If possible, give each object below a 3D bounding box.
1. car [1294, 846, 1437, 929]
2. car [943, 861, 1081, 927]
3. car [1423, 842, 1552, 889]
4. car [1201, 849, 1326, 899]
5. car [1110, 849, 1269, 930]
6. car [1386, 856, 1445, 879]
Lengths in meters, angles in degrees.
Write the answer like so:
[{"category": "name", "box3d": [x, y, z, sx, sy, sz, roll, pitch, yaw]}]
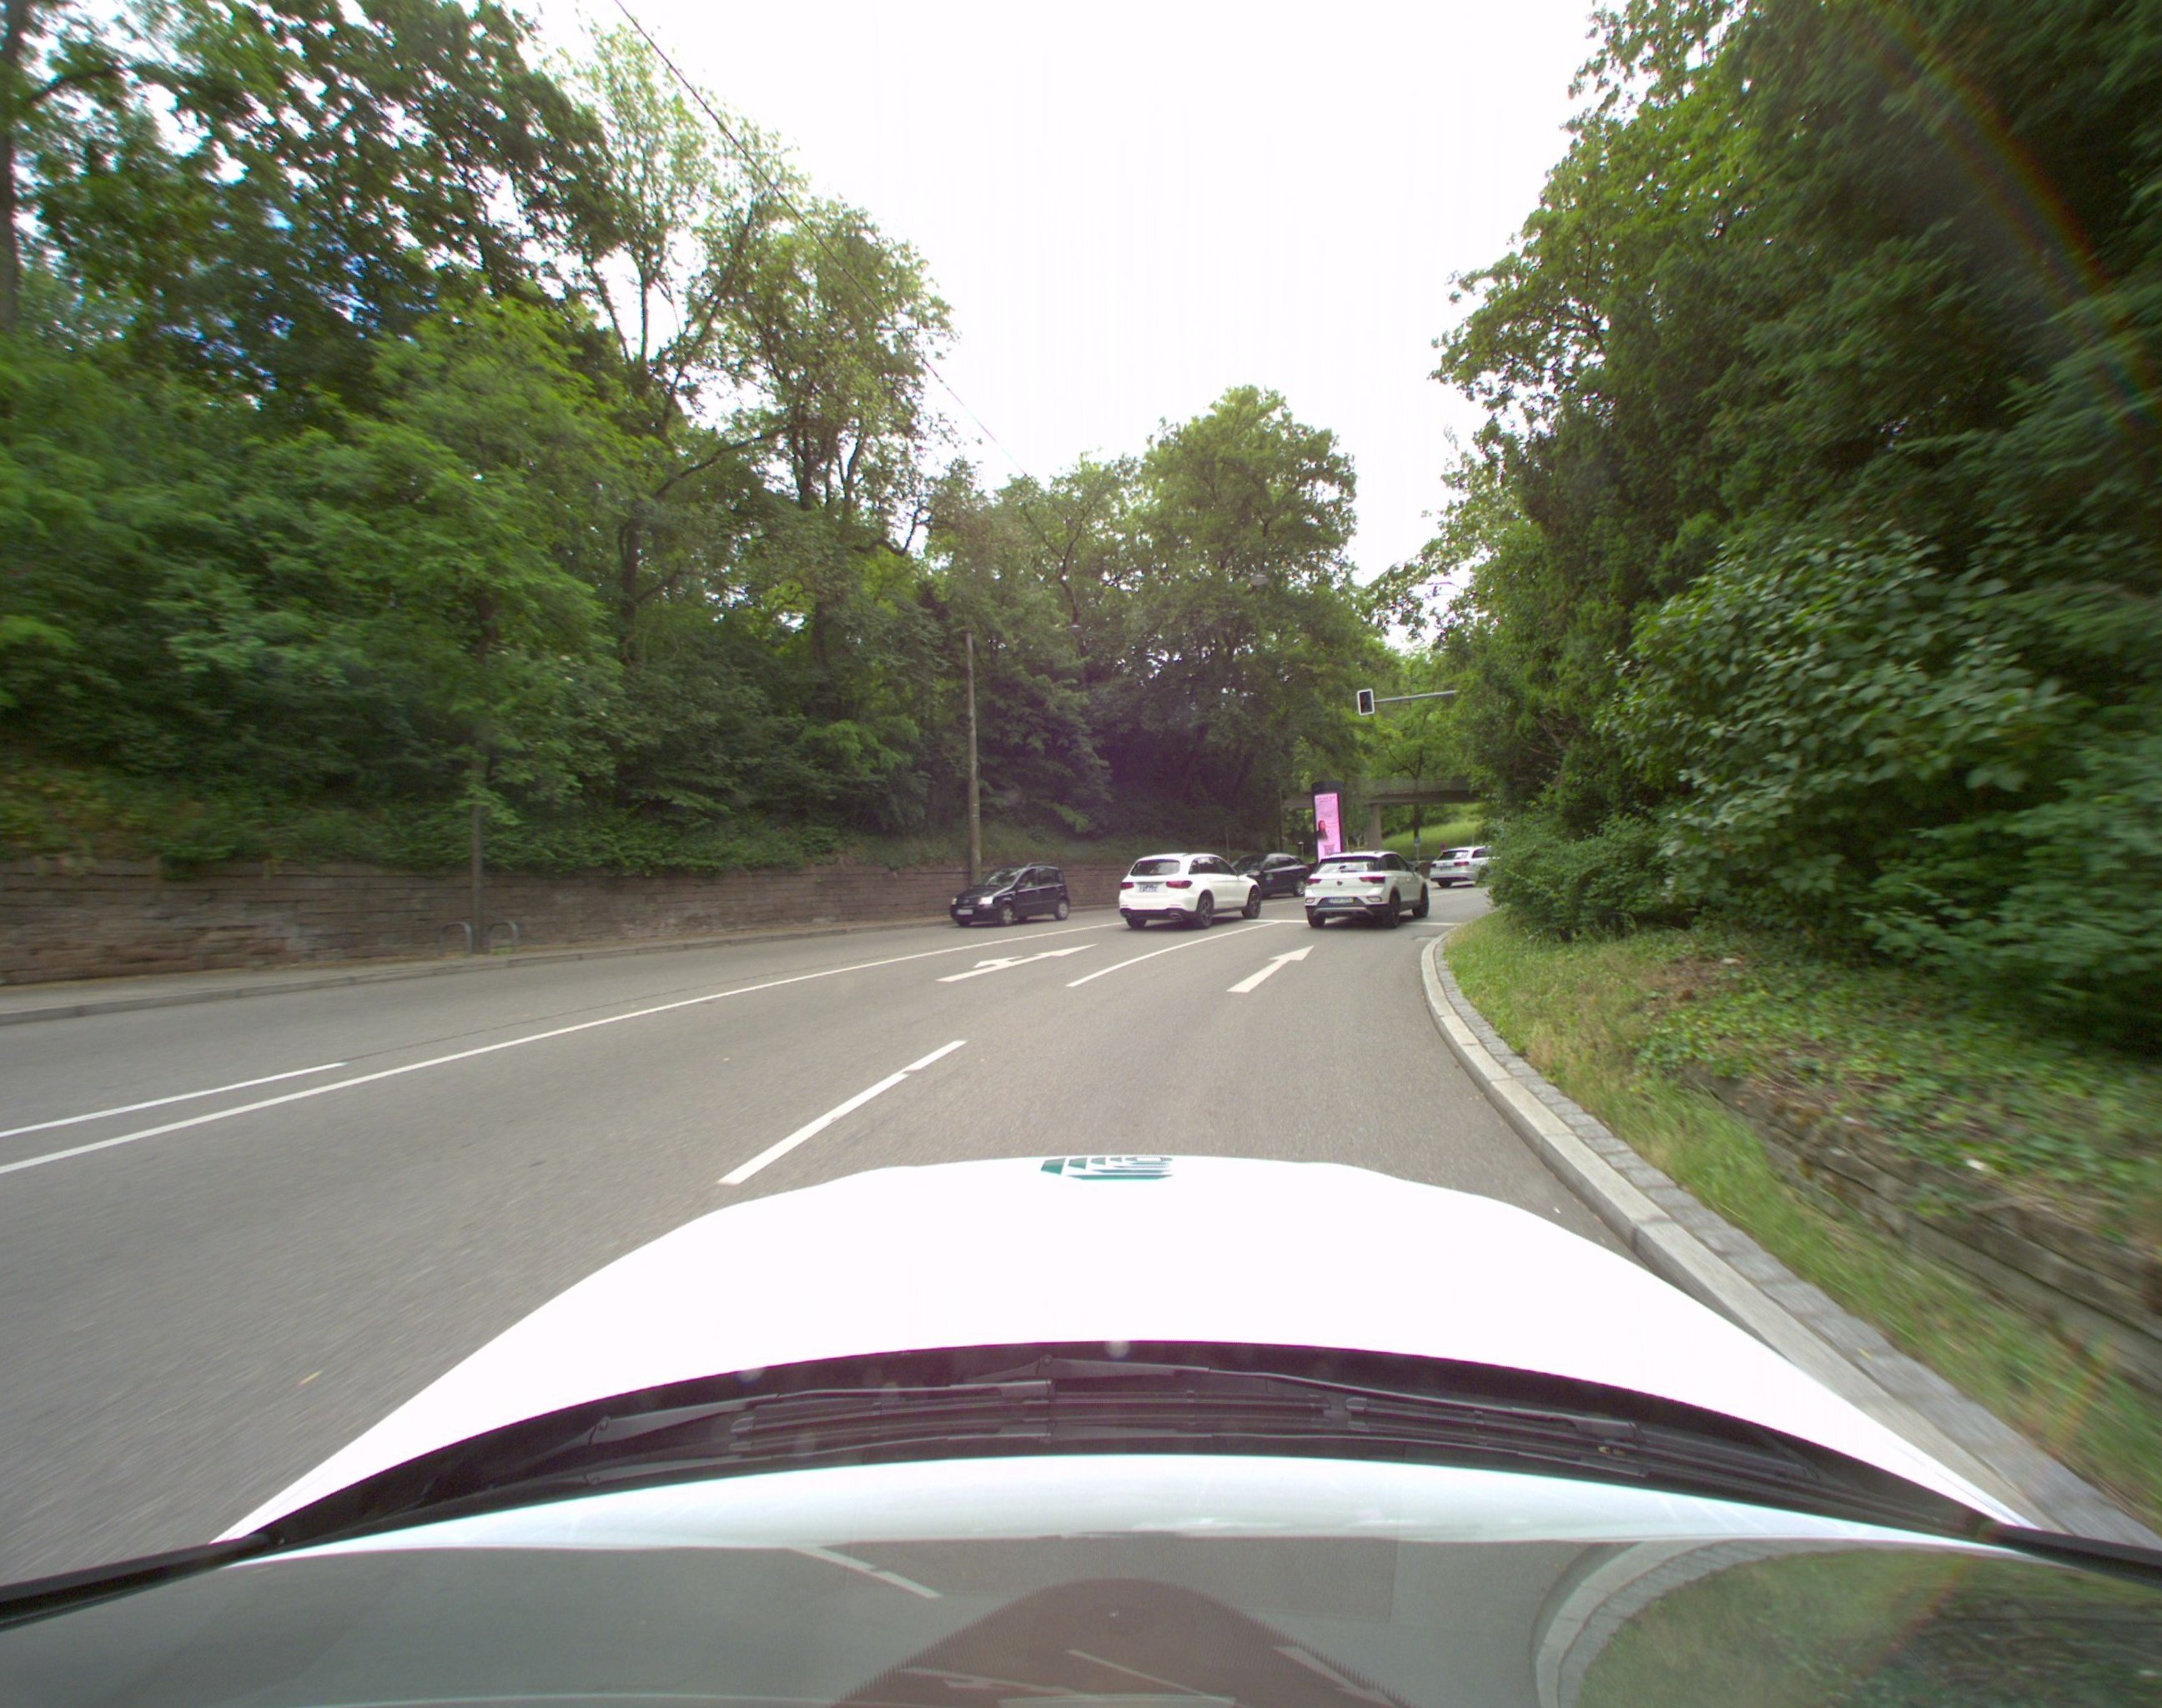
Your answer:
[{"category": "car", "box3d": [6.341, 0.652, 17.831, 1.737, 1.553, 4.365, -3, -1, 36]}, {"category": "car", "box3d": [-1.704, 0.969, 21.044, 1.491, 1.525, 3.683, -2, -1, 36]}, {"category": "car", "box3d": [15.272, 0.414, 30.541, 4.788, 1.534, 1.854, -2, 0, -28]}, {"category": "car", "box3d": [6.710, 0.716, 29.737, 4.670, 1.624, 1.740, -1, -2, -36]}, {"category": "car", "box3d": [2.680, 0.741, 19.016, 1.841, 1.605, 4.700, -2, -1, 32]}, {"category": "car", "box3d": [25.820, 1.064, 62.822, 4.002, 1.552, 1.763, -2, -3, -21]}]
